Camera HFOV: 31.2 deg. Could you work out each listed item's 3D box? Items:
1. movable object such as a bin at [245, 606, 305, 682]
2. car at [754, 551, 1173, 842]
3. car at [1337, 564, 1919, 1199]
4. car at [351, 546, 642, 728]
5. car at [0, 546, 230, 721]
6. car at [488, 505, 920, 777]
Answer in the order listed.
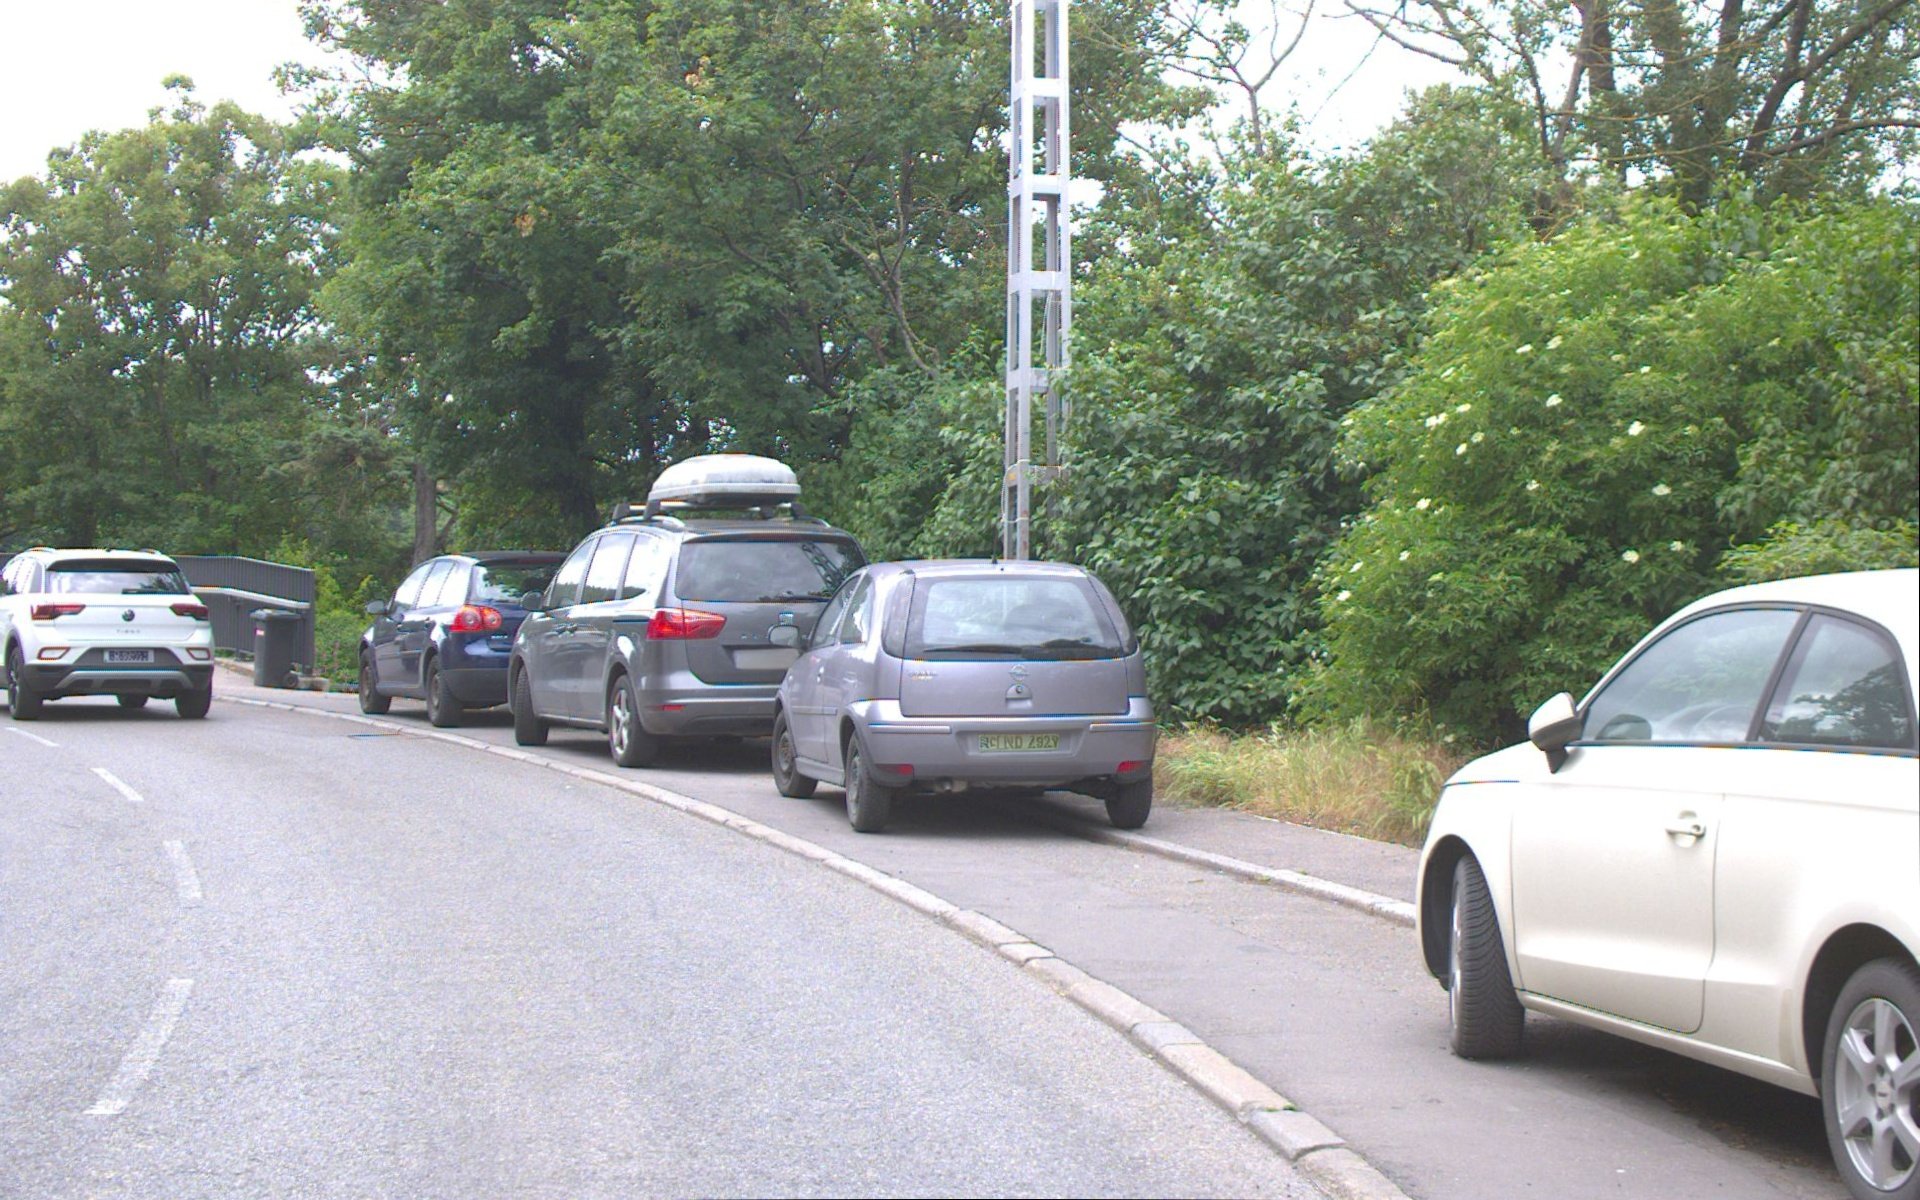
[{"bbox_3d":[-8.278,0.529,41.523,0.520,0.878,0.532,3,0,-31],"label":"movable object such as a bin"},{"bbox_3d":[-0.090,0.481,19.528,1.640,1.459,4.001,1,0,-11],"label":"car"},{"bbox_3d":[2.506,0.631,8.907,1.776,1.413,4.001,-1,1,-13],"label":"car"},{"bbox_3d":[-4.183,0.288,30.515,1.659,1.482,4.036,1,0,-21],"label":"car"},{"bbox_3d":[-8.252,0.262,32.440,1.867,1.531,3.804,-1,1,-25],"label":"car"},{"bbox_3d":[-1.964,0.248,24.863,1.798,1.766,4.609,1,0,-21],"label":"car"}]
